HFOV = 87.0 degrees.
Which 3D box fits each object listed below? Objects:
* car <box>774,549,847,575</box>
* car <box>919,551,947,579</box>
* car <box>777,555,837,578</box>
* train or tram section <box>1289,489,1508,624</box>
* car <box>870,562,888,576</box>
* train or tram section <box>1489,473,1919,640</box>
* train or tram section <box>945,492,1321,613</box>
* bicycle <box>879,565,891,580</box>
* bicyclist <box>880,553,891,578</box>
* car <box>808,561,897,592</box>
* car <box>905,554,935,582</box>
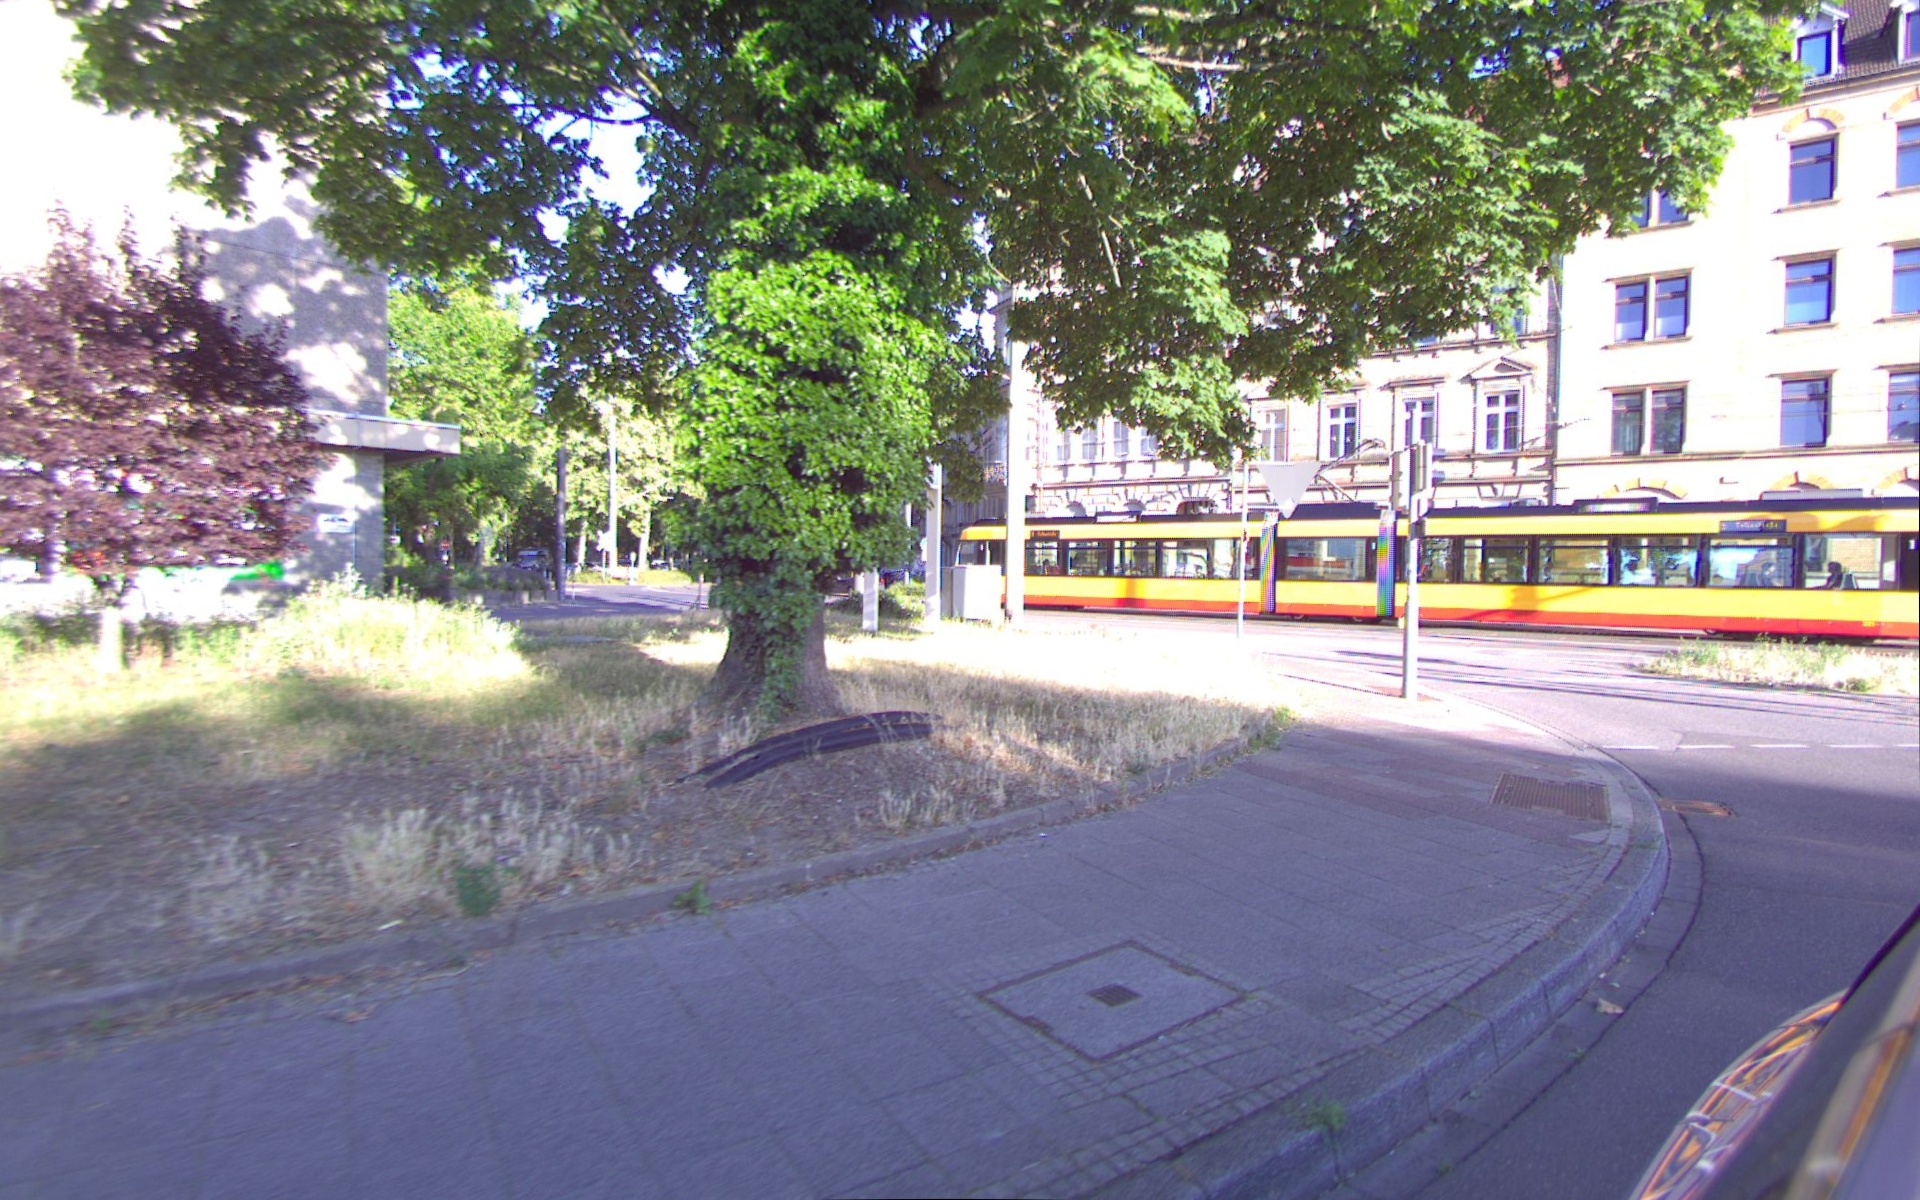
[{"bbox_3d":[-11.155,-2.857,75.593,4.982,1.810,1.993,1,2,13],"label":"car"},{"bbox_3d":[-1.741,-2.265,65.278,1.705,1.682,4.002,1,2,0],"label":"car"},{"bbox_3d":[-11.016,-2.432,72.921,3.939,1.526,1.862,1,2,13],"label":"car"},{"bbox_3d":[12.639,-1.257,29.326,5.274,3.551,2.832,2,2,37],"label":"train or tram section"},{"bbox_3d":[-9.616,-3.677,119.766,1.959,1.660,4.006,1,2,-7],"label":"car"},{"bbox_3d":[19.261,-1.038,24.346,11.235,3.551,2.832,2,2,37],"label":"train or tram section"},{"bbox_3d":[5.436,-1.641,34.842,12.943,3.551,2.832,2,2,37],"label":"train or tram section"},{"bbox_3d":[-5.652,-2.061,76.722,0.715,1.097,2.117,1,1,0],"label":"bicycle"},{"bbox_3d":[-5.652,-2.627,76.742,0.716,1.863,1.212,1,1,1],"label":"bicyclist"},{"bbox_3d":[-5.153,-1.134,48.134,4.141,1.397,1.790,2,2,38],"label":"car"},{"bbox_3d":[-3.057,-2.408,75.969,1.960,2.038,4.642,1,2,-5],"label":"car"}]
